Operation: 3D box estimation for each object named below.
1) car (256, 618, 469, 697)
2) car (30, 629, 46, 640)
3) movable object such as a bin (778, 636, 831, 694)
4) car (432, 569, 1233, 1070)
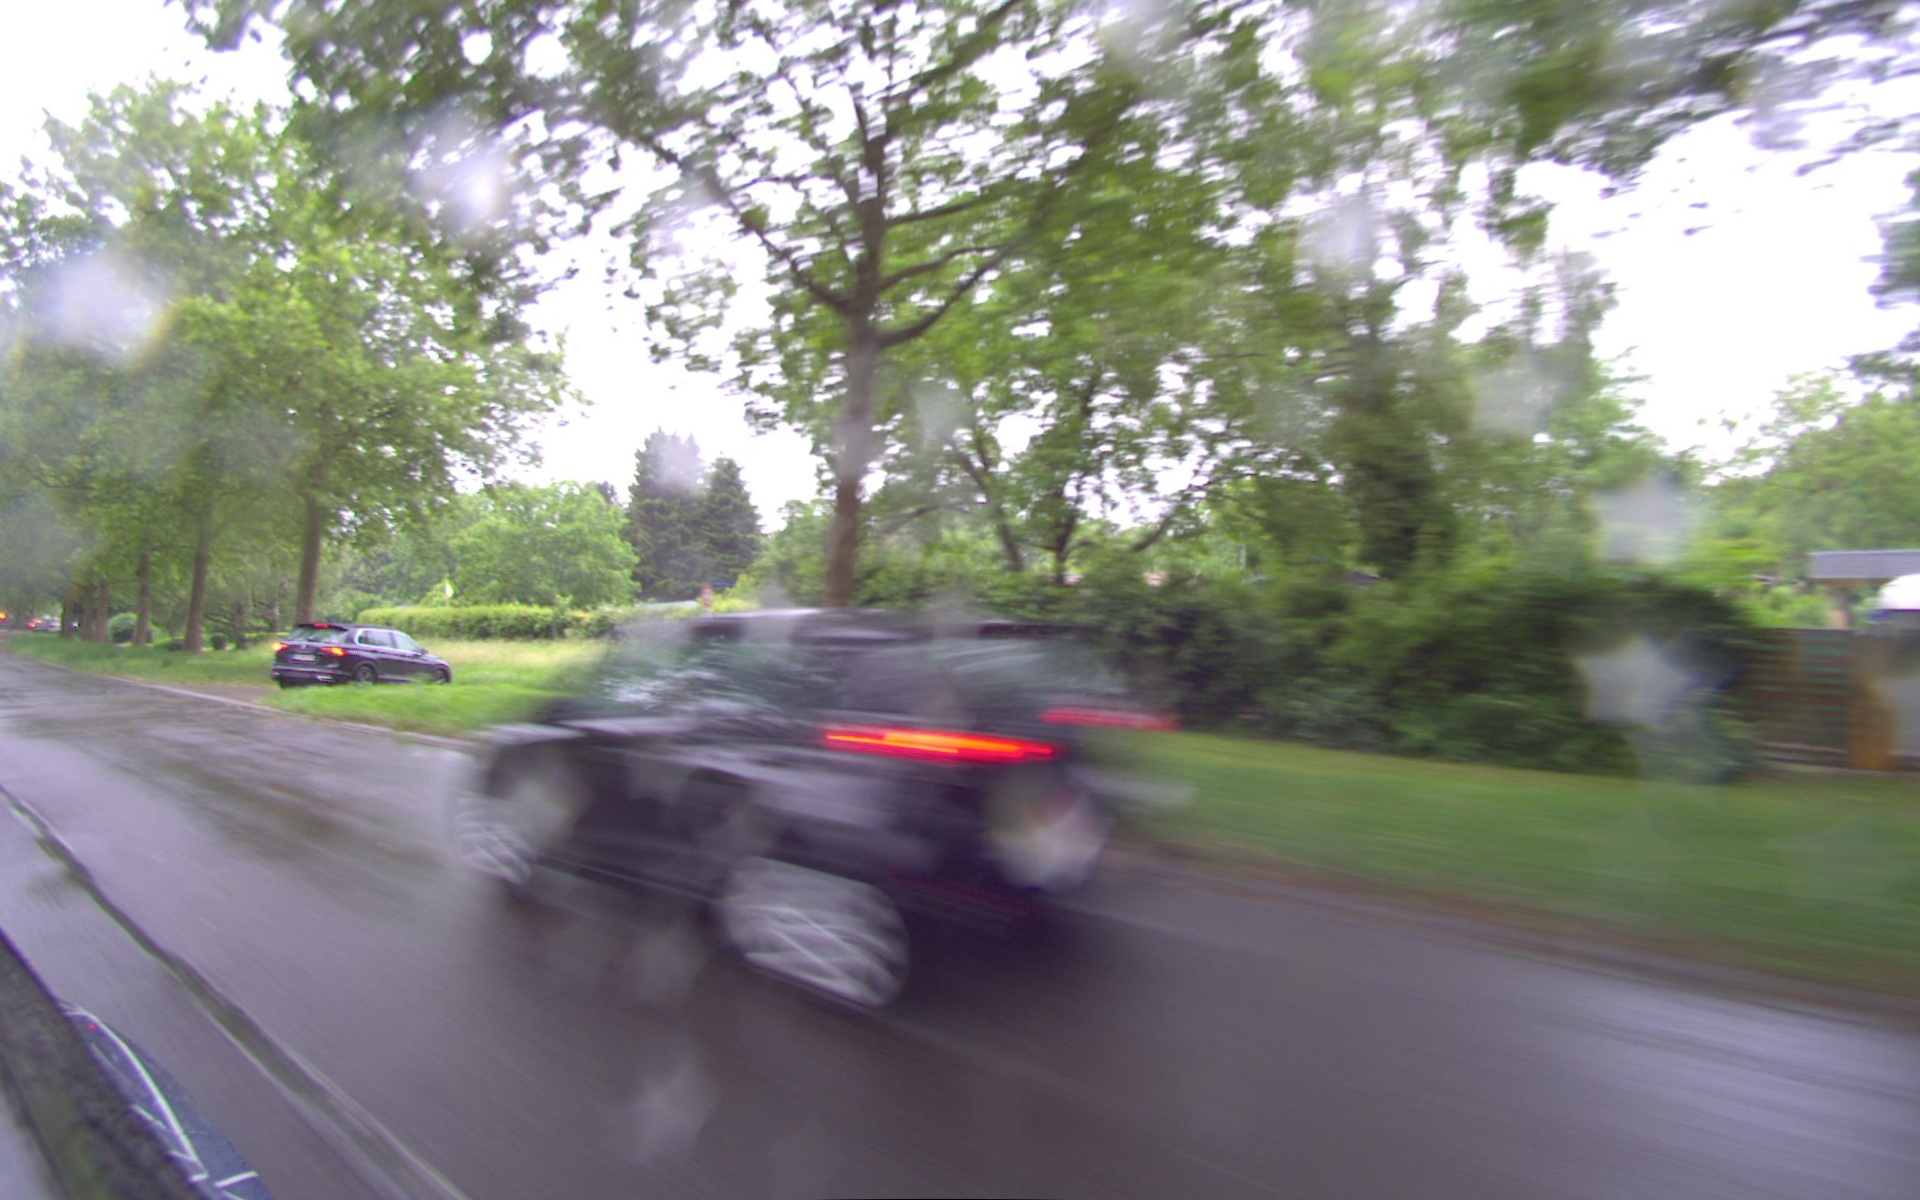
[{"bbox_3d":[-13.562,1.380,23.316,1.720,1.600,4.290,-3,-5,14],"label":"car"},{"bbox_3d":[-153.704,5.791,168.634,1.841,1.763,5.019,1,-2,-44],"label":"car"},{"bbox_3d":[-4.081,1.698,26.614,0.965,1.433,0.953,-2,0,41],"label":"movable object such as a bin"},{"bbox_3d":[-0.866,0.674,4.937,3.878,1.497,1.689,-1,0,41],"label":"car"}]
